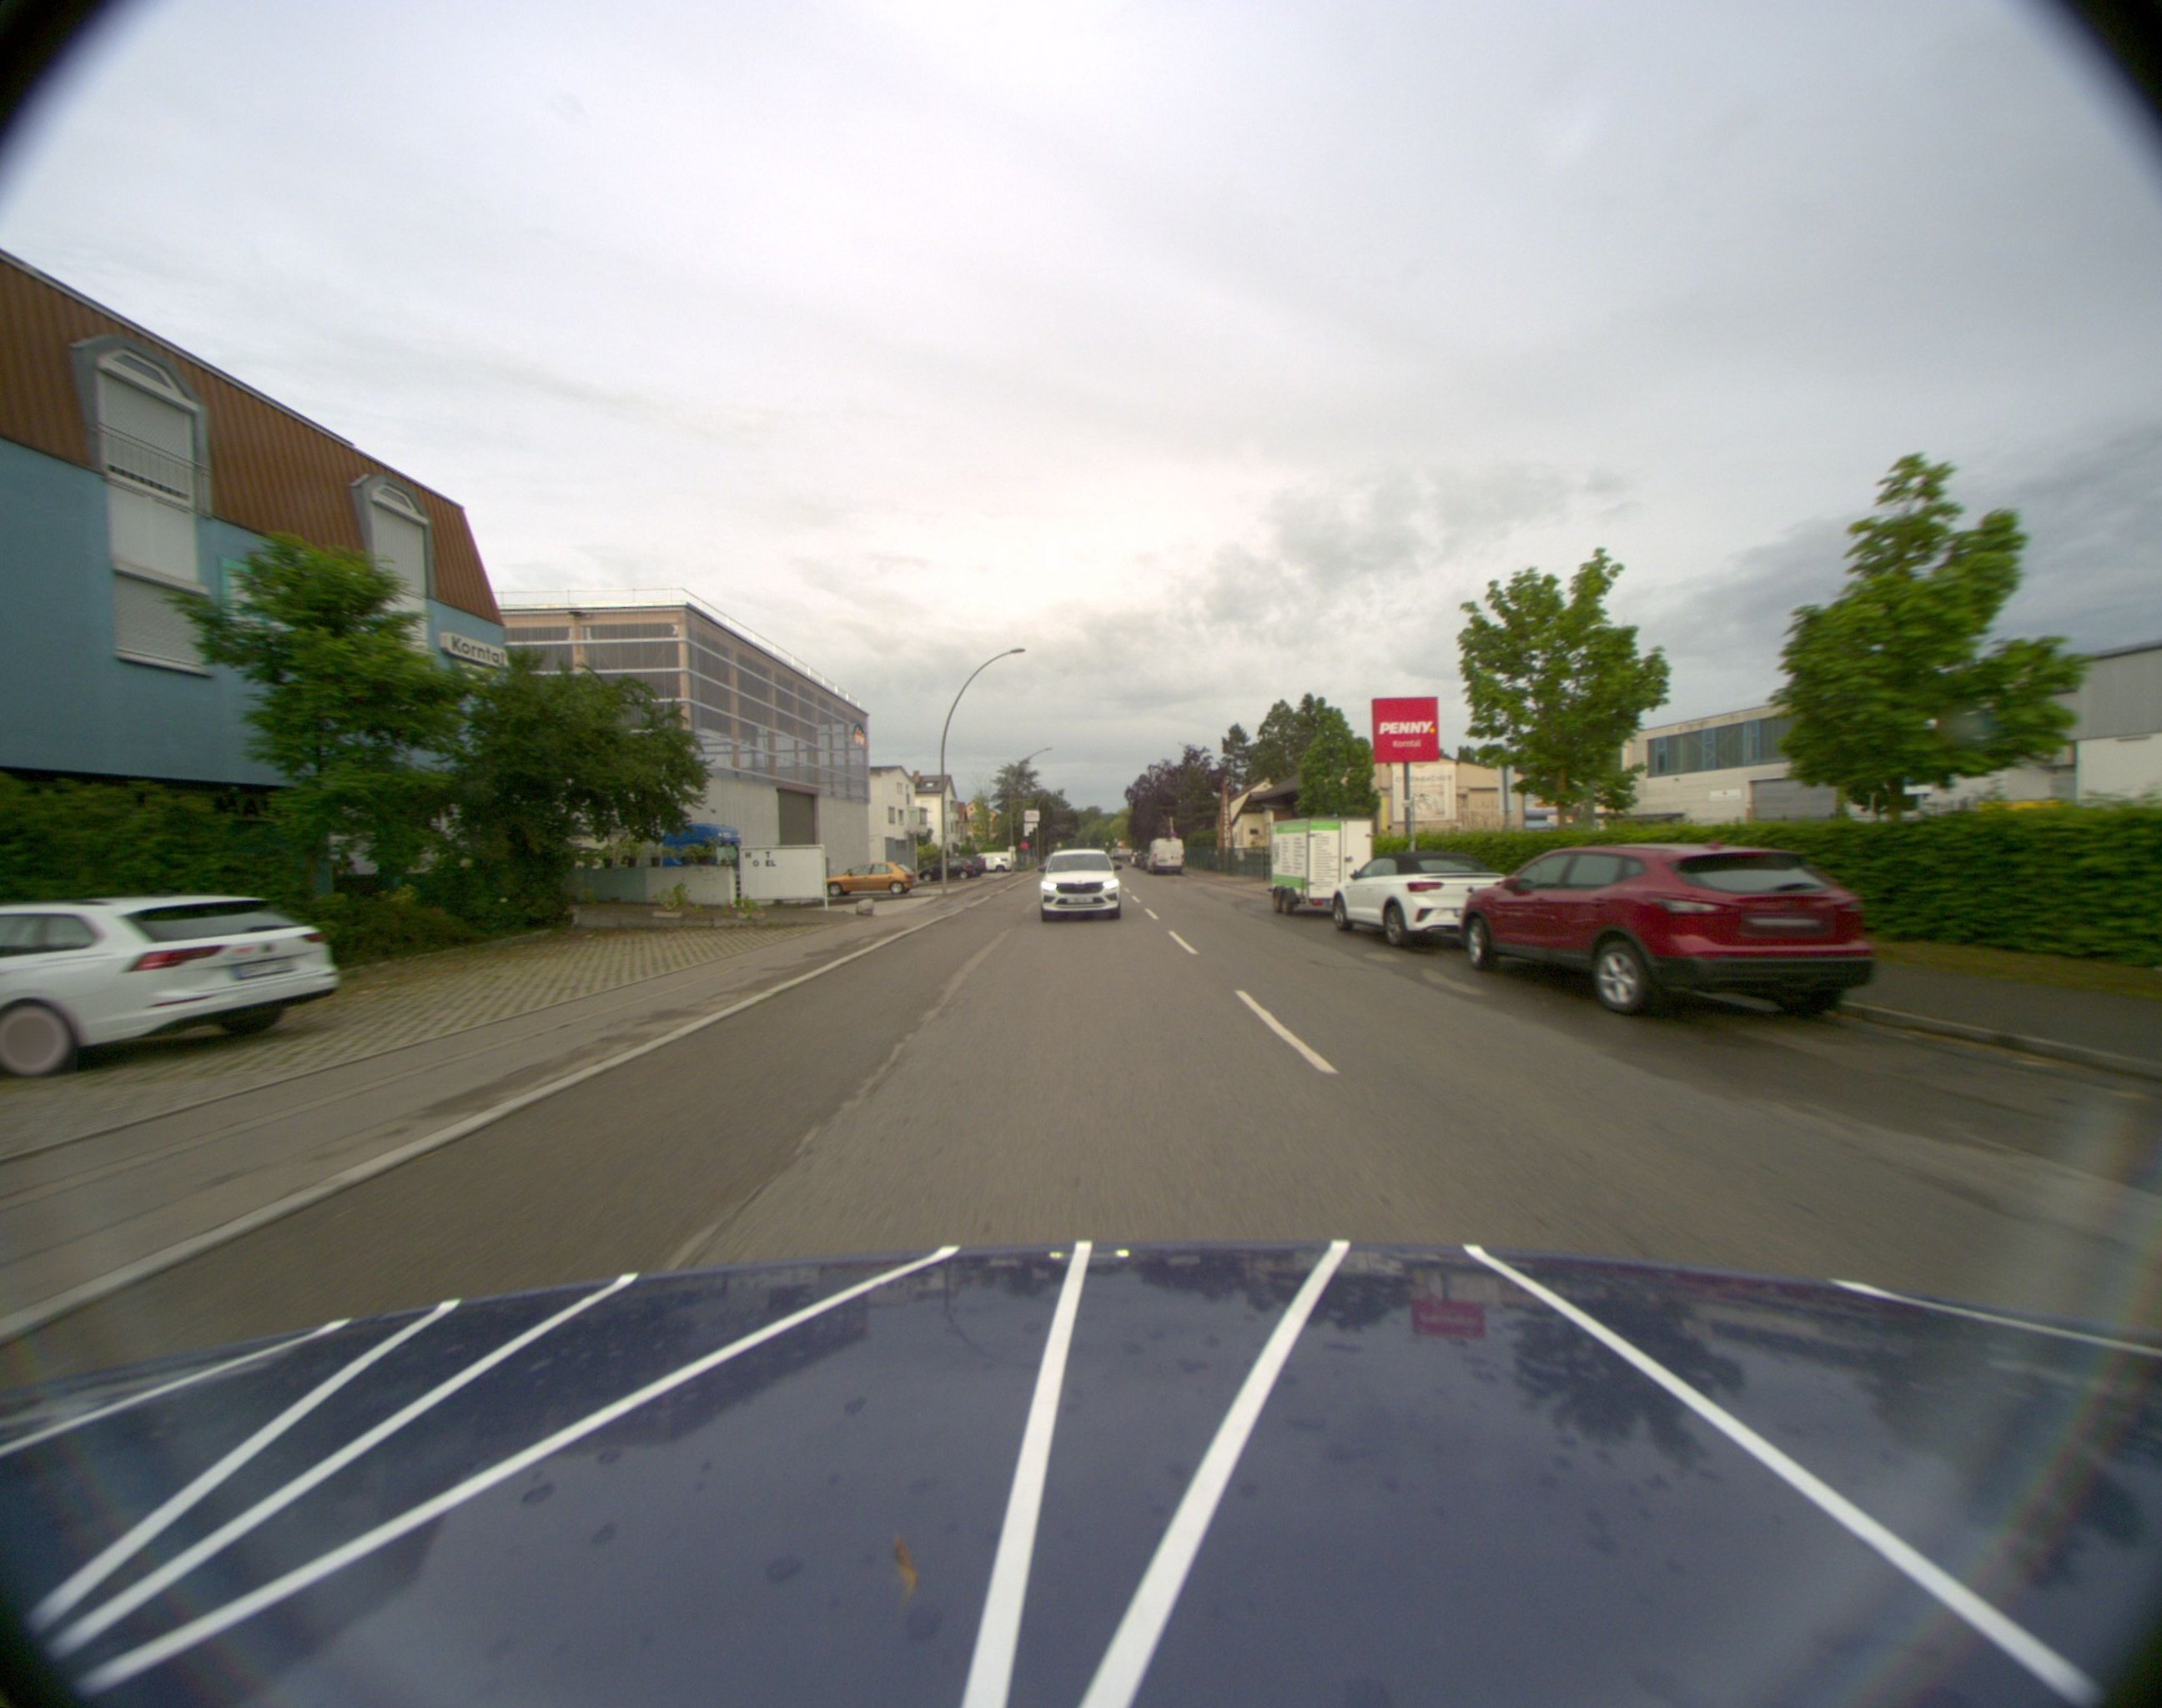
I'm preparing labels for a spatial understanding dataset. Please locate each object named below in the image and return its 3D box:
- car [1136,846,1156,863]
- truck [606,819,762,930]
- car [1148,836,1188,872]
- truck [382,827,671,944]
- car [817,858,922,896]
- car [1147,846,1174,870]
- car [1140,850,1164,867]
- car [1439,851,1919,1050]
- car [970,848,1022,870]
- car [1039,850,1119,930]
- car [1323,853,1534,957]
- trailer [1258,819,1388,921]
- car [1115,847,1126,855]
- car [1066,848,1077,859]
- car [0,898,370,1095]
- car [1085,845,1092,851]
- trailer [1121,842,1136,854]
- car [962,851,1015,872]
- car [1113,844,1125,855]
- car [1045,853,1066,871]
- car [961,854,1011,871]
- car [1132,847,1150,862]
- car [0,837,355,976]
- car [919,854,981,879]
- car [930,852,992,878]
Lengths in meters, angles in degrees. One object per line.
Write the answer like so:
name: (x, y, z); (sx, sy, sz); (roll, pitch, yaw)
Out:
car: (6.496, 0.033, 76.767); (1.665, 1.575, 3.915); (0, 1, 0)
truck: (-14.929, 0.725, 28.883); (4.155, 3.653, 2.719); (-5, 1, -2)
car: (6.258, -0.031, 55.469); (2.163, 2.413, 6.458); (1, 1, 0)
truck: (-20.689, 1.114, 28.735); (8.557, 3.686, 2.721); (-4, 2, -1)
car: (-8.987, 0.972, 32.551); (3.997, 1.422, 1.630); (-2, 1, -1)
car: (6.357, 0.268, 61.268); (1.774, 1.758, 4.445); (2, 1, 1)
car: (6.320, 0.372, 67.712); (1.665, 1.440, 4.316); (0, 1, -1)
car: (5.847, 0.770, 8.293); (1.810, 1.564, 4.342); (-1, 0, 0)
car: (-8.190, 0.464, 73.603); (4.743, 1.875, 2.000); (-3, 1, 1)
car: (-0.101, 0.787, 18.944); (1.692, 1.651, 3.998); (-3, 1, -2)
car: (5.809, 0.759, 13.328); (1.777, 1.490, 4.136); (-2, 0, 0)
trailer: (6.055, 0.353, 19.636); (1.817, 2.300, 4.729); (0, 1, 0)
car: (6.979, -0.534, 134.430); (1.821, 1.419, 4.980); (-1, 1, 1)
car: (-1.723, -0.187, 141.739); (1.736, 1.817, 5.552); (-4, 1, 2)
car: (-9.629, 1.265, 6.903); (4.427, 1.385, 1.880); (-3, 1, -2)
car: (2.006, -1.685, 203.684); (1.898, 1.678, 4.230); (-1, 1, 1)
trailer: (7.112, -0.903, 113.796); (1.934, 1.755, 4.547); (-2, 1, 1)
car: (-8.245, 0.651, 68.242); (4.457, 1.615, 1.893); (-3, 1, 0)
car: (6.948, -0.859, 139.863); (1.898, 1.881, 5.209); (-1, 1, 1)
car: (-2.260, 0.701, 68.556); (1.743, 1.458, 4.544); (-3, 1, -1)
car: (-8.872, 0.787, 71.039); (4.331, 1.371, 1.850); (-3, 1, 0)
car: (6.469, 0.013, 82.023); (1.620, 1.500, 3.660); (-1, 1, 1)
car: (-14.323, 0.672, 11.715); (1.999, 1.730, 4.428); (-3, 1, -2)
car: (-9.435, 0.899, 54.945); (3.976, 1.481, 1.833); (-4, 1, 2)
car: (-9.047, 0.803, 57.487); (4.237, 1.665, 1.980); (-3, 1, 0)
